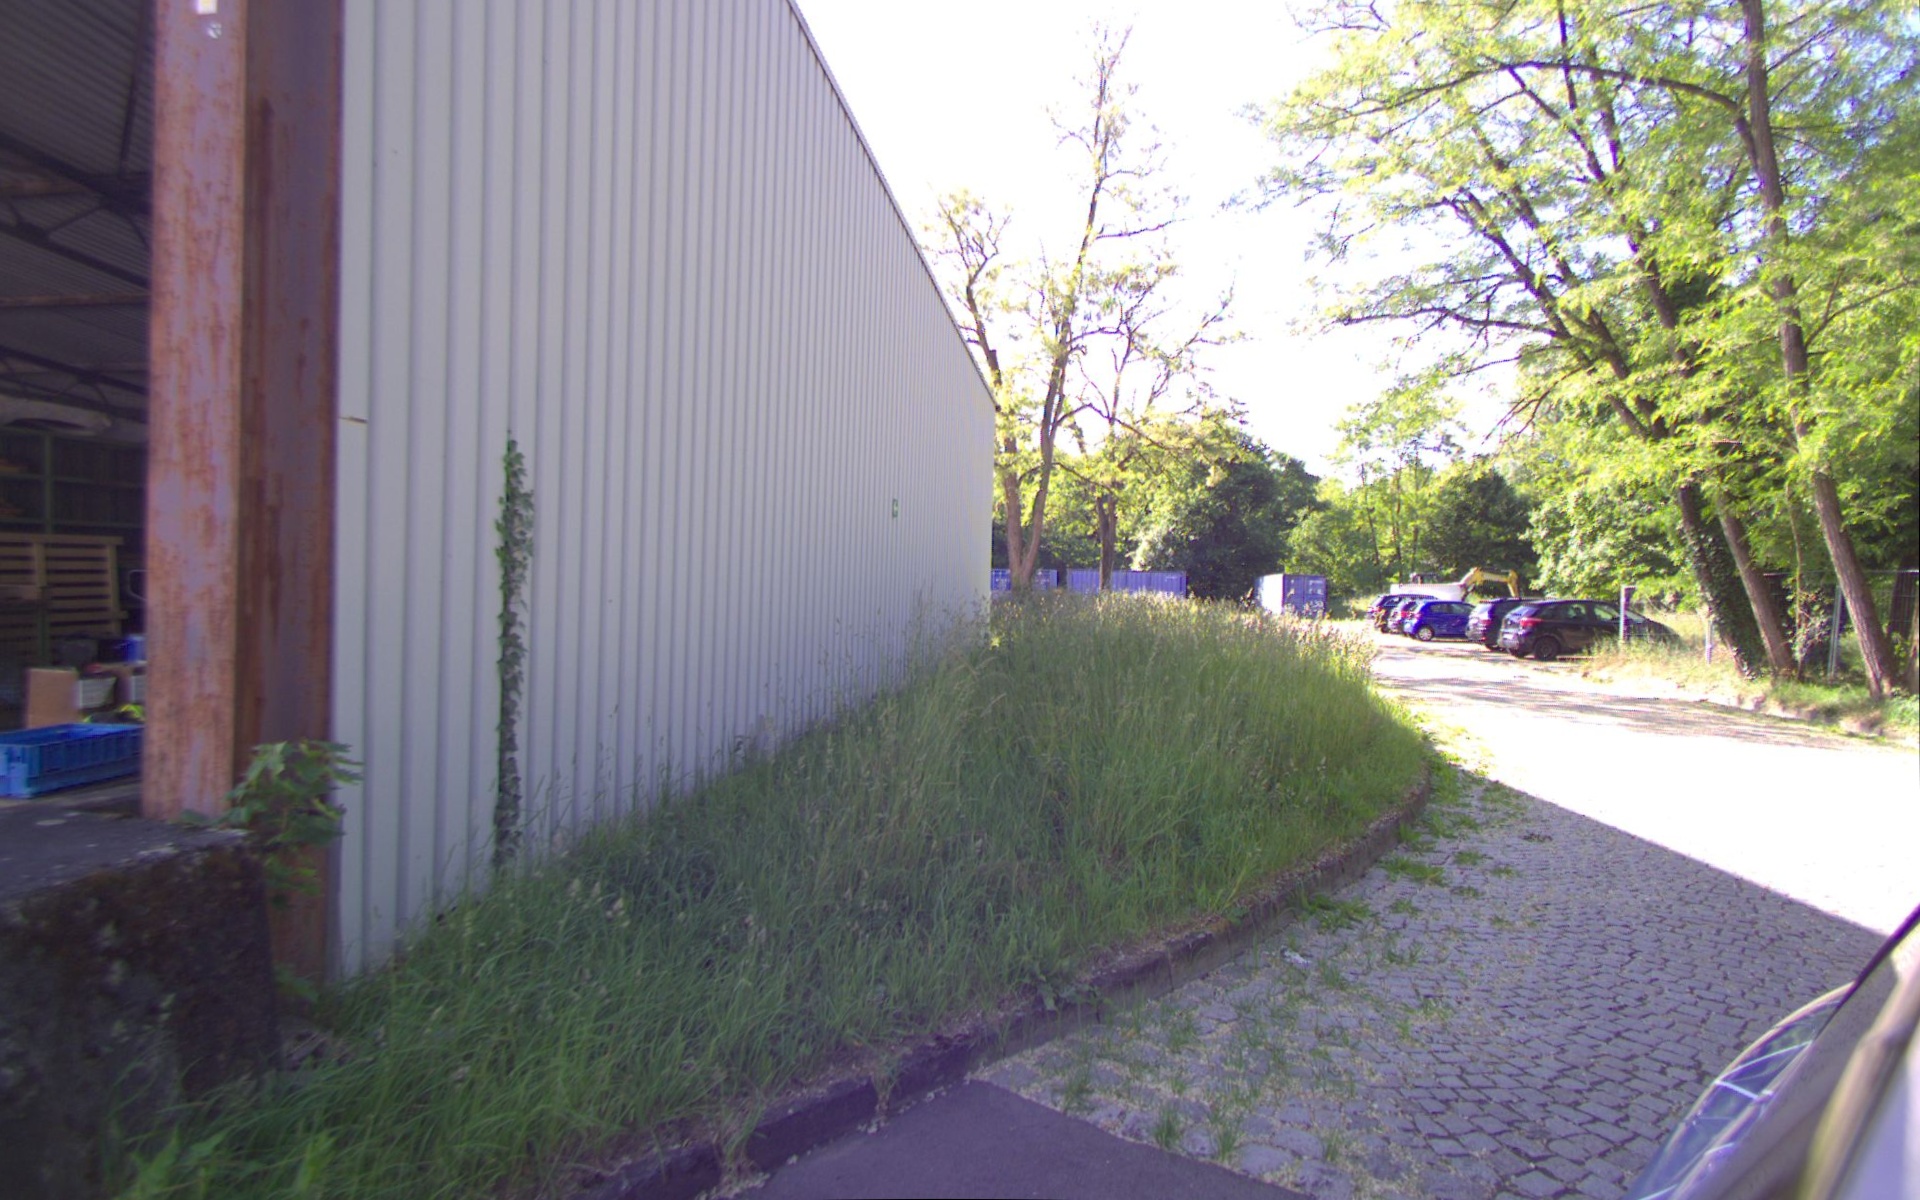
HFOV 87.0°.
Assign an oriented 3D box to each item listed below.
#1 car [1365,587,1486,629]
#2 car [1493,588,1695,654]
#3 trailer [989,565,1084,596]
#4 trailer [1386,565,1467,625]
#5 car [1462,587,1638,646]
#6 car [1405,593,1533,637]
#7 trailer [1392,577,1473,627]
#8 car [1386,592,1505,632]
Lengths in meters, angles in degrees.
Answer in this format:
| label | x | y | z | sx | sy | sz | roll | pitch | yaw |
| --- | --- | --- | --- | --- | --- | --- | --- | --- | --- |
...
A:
| label | x | y | z | sx | sy | sz | roll | pitch | yaw |
| --- | --- | --- | --- | --- | --- | --- | --- | --- | --- |
| car | 18.838 | 0.286 | 41.161 | 4.066 | 1.609 | 1.964 | 1 | 1 | 11 |
| car | 17.136 | 0.557 | 27.519 | 4.199 | 1.609 | 1.826 | -2 | 0 | 7 |
| trailer | 4.159 | -1.053 | 54.317 | 4.786 | 1.432 | 2.641 | 2 | 2 | 11 |
| trailer | 21.081 | -0.243 | 45.874 | 2.806 | 2.570 | 2.258 | -2 | 1 | 13 |
| car | 17.876 | 0.488 | 30.834 | 4.199 | 1.651 | 1.877 | -1 | 1 | 7 |
| car | 18.084 | 0.501 | 36.122 | 3.731 | 1.476 | 1.779 | 0 | 1 | 12 |
| trailer | 20.391 | 0.072 | 43.789 | 2.807 | 2.076 | 1.818 | 1 | 1 | 13 |
| car | 18.503 | 0.433 | 38.721 | 3.730 | 1.429 | 1.889 | 1 | 1 | 11 |
